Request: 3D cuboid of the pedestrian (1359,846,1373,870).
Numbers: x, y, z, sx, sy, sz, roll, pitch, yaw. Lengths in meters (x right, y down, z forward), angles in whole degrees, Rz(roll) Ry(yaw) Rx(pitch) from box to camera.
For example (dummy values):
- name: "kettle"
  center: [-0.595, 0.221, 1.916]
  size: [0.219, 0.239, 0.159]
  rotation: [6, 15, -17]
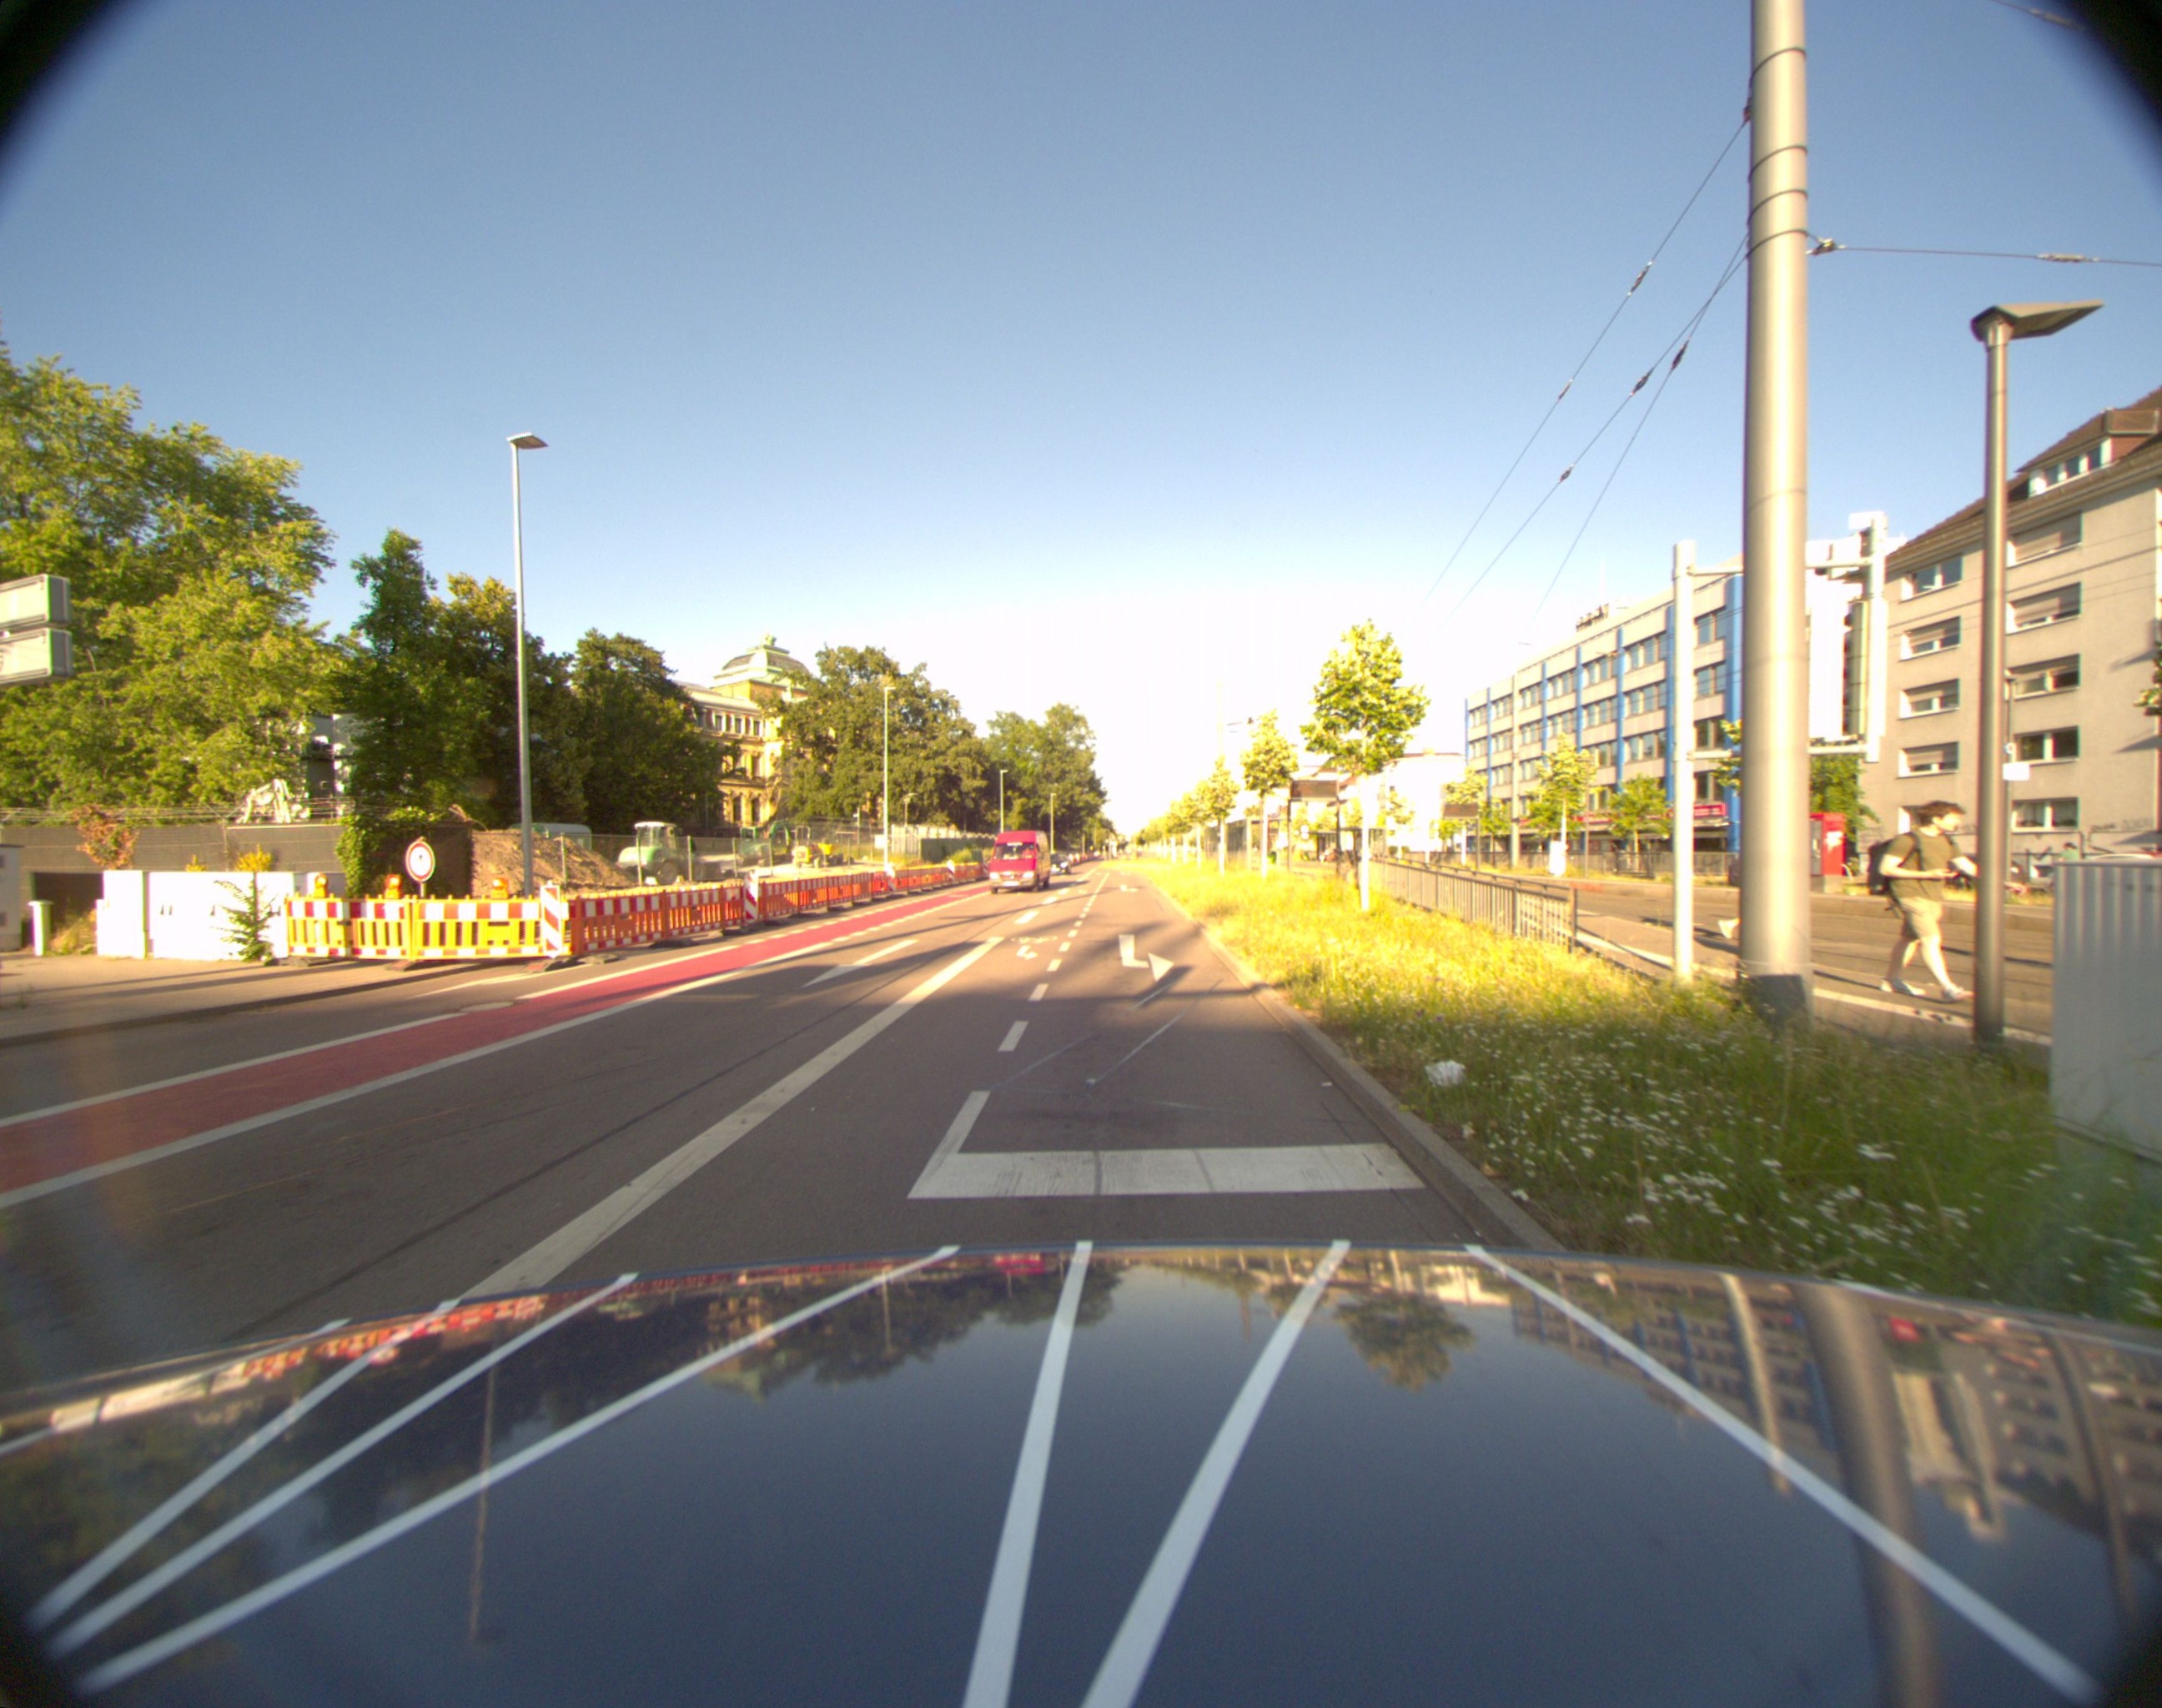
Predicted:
- name: "pedestrian"
  center: [19.883, 0.281, 53.028]
  size: [0.660, 1.682, 0.772]
  rotation: [-2, 1, 1]

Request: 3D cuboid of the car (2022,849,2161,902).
- name: "car"
  center: [34.026, 0.652, 24.889]
  size: [1.885, 1.499, 3.674]
  rotation: [-2, 1, 2]

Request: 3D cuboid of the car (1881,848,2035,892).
- name: "car"
  center: [34.156, 0.577, 29.752]
  size: [1.885, 1.499, 3.674]
  rotation: [-2, 1, 2]

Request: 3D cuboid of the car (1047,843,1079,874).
- name: "car"
  center: [-1.233, 0.276, 53.378]
  size: [1.998, 2.002, 3.999]
  rotation: [-2, 1, 1]

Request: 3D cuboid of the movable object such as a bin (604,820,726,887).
- name: "movable object such as a bin"
  center: [-18.004, -0.053, 33.231]
  size: [1.997, 2.668, 5.015]
  rotation: [-2, 1, 7]

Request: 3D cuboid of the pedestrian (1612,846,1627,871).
- name: "pedestrian"
  center: [37.962, 0.331, 53.524]
  size: [0.645, 1.736, 0.599]
  rotation: [-2, 1, 9]

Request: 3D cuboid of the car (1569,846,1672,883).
- name: "car"
  center: [23.888, 0.423, 33.855]
  size: [1.885, 1.499, 3.943]
  rotation: [-2, 1, 2]

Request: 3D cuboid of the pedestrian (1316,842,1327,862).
- name: "pedestrian"
  center: [20.639, -0.194, 65.261]
  size: [0.659, 1.682, 0.772]
  rotation: [-2, 1, 5]

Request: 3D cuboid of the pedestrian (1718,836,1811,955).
- name: "pedestrian"
  center: [9.990, 0.589, 11.134]
  size: [0.787, 1.689, 0.619]
  rotation: [-2, 1, 5]

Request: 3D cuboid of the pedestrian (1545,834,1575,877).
- name: "pedestrian"
  center: [18.918, 0.060, 30.020]
  size: [0.787, 1.663, 0.619]
  rotation: [-2, 1, 5]

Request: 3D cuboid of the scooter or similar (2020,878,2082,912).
- name: "scooter or similar"
  center: [31.848, 1.341, 24.964]
  size: [0.486, 1.000, 1.330]
  rotation: [-2, 1, 9]

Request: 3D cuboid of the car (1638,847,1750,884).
- name: "car"
  center: [27.213, 0.468, 33.905]
  size: [1.885, 1.499, 3.943]
  rotation: [-2, 1, 2]

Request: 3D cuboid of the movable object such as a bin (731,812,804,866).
- name: "movable object such as a bin"
  center: [-20.874, -0.997, 50.908]
  size: [1.997, 3.310, 5.376]
  rotation: [-2, 1, 7]

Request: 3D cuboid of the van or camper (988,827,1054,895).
- name: "van or camper"
  center: [-2.409, 0.223, 32.029]
  size: [1.998, 2.514, 5.914]
  rotation: [-2, 1, 2]

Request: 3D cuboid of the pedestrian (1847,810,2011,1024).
- name: "pedestrian"
  center: [7.737, 0.555, 6.962]
  size: [0.787, 1.853, 0.619]
  rotation: [-2, 1, 5]

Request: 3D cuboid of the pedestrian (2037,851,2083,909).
- name: "pedestrian"
  center: [31.911, 0.825, 24.771]
  size: [0.561, 1.837, 0.723]
  rotation: [-2, 1, 9]

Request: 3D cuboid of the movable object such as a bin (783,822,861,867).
- name: "movable object such as a bin"
  center: [-17.105, -0.647, 50.565]
  size: [1.996, 2.800, 5.871]
  rotation: [-2, 1, 13]

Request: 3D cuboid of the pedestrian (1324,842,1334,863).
- name: "pedestrian"
  center: [20.549, -0.158, 62.954]
  size: [0.659, 1.682, 0.772]
  rotation: [-2, 1, 8]
